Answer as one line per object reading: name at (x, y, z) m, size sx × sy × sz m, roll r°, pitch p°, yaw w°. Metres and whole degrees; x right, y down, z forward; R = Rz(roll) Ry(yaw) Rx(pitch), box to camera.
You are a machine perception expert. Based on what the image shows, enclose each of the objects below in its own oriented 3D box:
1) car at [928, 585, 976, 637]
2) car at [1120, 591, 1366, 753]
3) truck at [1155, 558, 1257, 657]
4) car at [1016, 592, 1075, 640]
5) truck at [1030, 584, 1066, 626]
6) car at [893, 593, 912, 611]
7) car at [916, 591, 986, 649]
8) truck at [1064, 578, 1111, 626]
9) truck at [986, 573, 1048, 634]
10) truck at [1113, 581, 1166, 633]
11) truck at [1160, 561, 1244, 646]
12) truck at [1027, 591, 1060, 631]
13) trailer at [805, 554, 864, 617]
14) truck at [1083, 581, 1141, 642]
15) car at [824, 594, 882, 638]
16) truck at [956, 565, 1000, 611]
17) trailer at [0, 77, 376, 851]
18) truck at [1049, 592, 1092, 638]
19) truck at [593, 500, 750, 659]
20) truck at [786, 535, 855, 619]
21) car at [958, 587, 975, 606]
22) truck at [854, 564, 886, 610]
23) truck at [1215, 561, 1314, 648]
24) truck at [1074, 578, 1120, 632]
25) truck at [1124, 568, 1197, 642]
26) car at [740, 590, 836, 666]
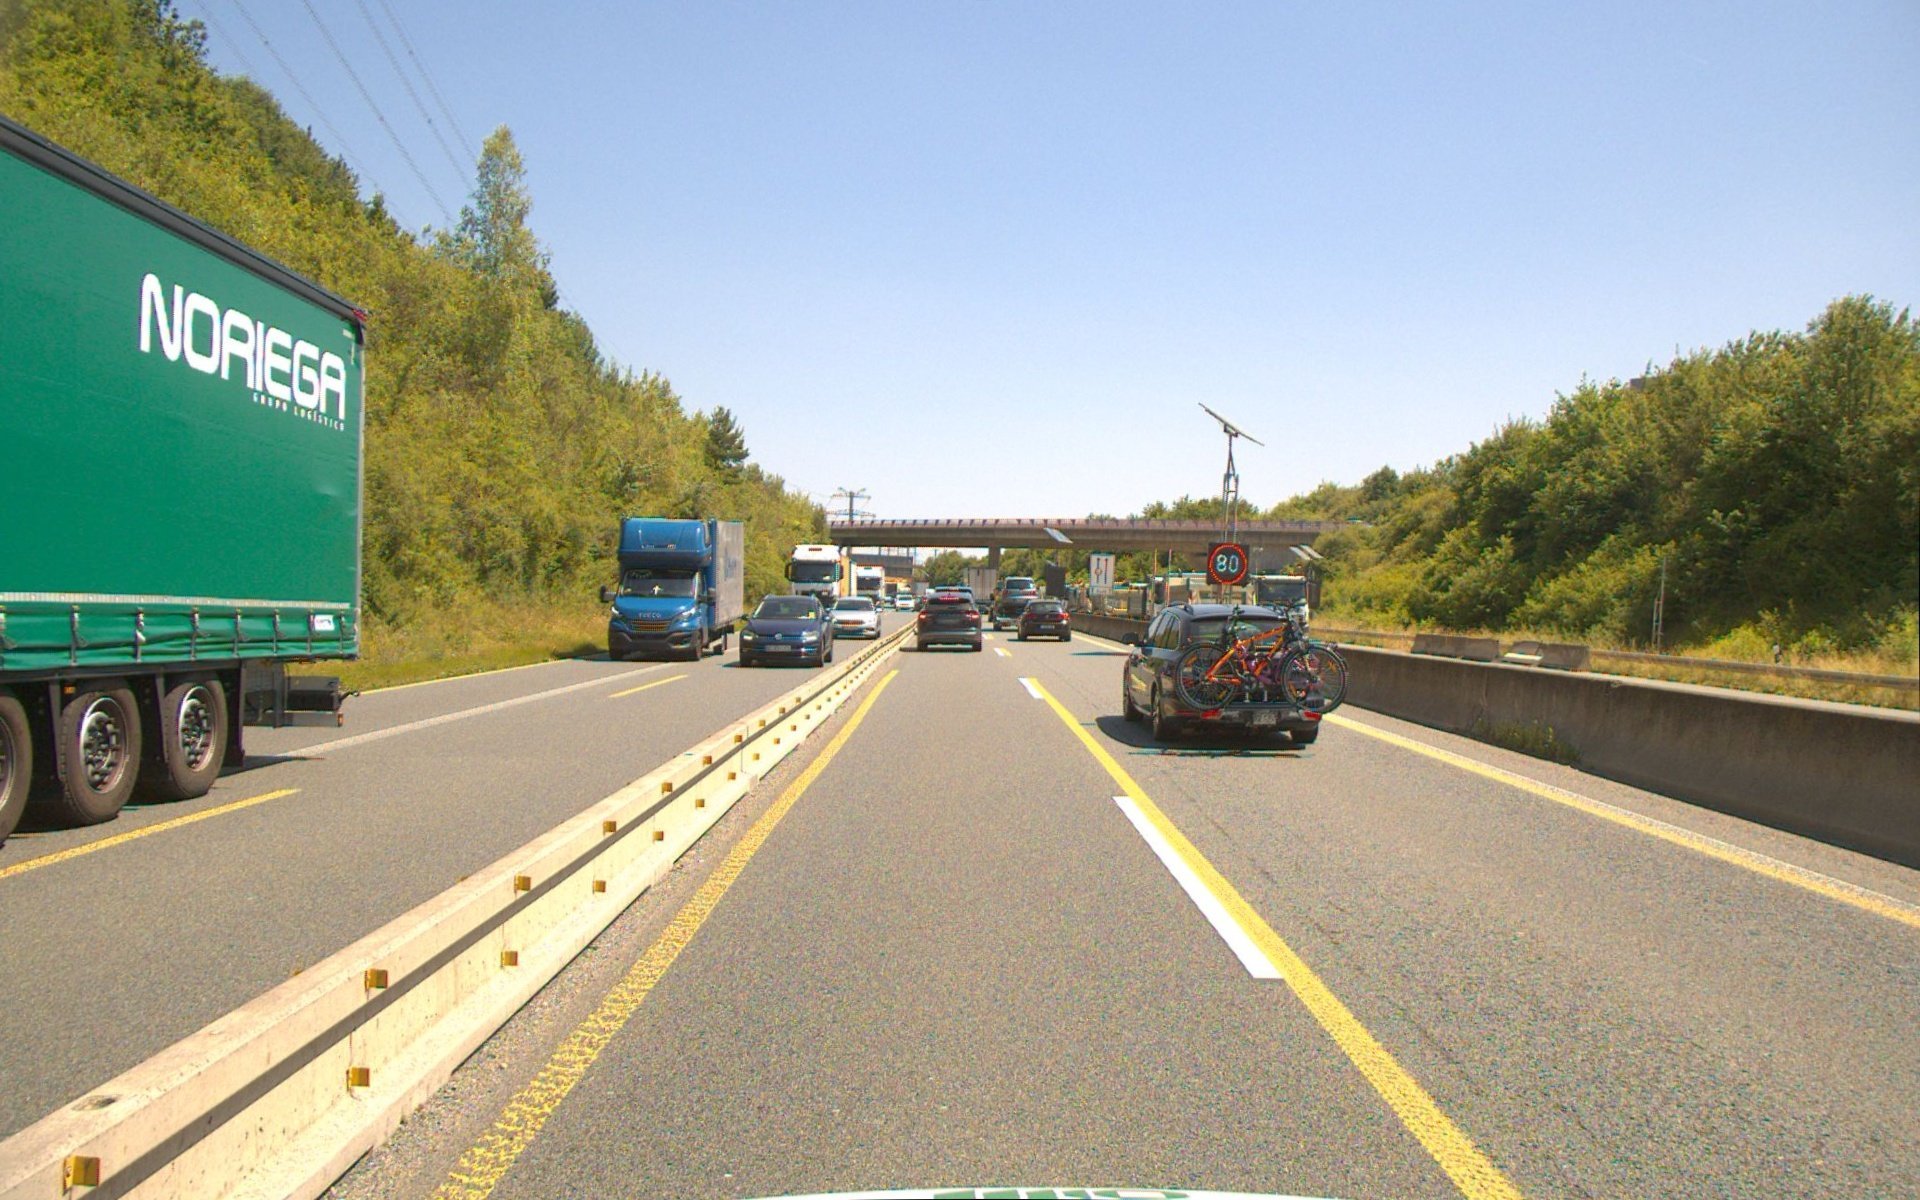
car at (-0.306, 0.433, 66.813) m, size 1.860 × 2.003 × 4.276 m, roll 1°, pitch 0°, yaw 0°
car at (2.949, 0.702, 18.318) m, size 1.860 × 1.516 × 4.947 m, roll 1°, pitch 0°, yaw 0°
truck at (9.457, 0.258, 64.572) m, size 2.482 × 3.572 × 9.095 m, roll 1°, pitch 0°, yaw -1°
car at (2.971, 0.548, 58.347) m, size 1.860 × 1.613 × 4.276 m, roll 1°, pitch 0°, yaw 0°
truck at (8.262, 0.476, 156.553) m, size 2.633 × 3.826 × 9.322 m, roll 1°, pitch 0°, yaw -1°
car at (-5.706, 0.212, 163.399) m, size 1.787 × 1.659 × 4.150 m, roll 1°, pitch 0°, yaw -1°
car at (-0.244, 0.531, 46.661) m, size 1.860 × 1.531 × 4.276 m, roll 1°, pitch 0°, yaw 0°
truck at (9.882, 0.136, 129.182) m, size 2.633 × 3.619 × 9.322 m, roll 1°, pitch 0°, yaw -2°
truck at (2.551, 0.123, 75.994) m, size 2.357 × 2.603 × 7.497 m, roll 1°, pitch 0°, yaw -2°
truck at (12.439, 0.433, 115.515) m, size 2.632 × 3.437 × 9.602 m, roll 1°, pitch 0°, yaw 0°
truck at (10.809, 0.150, 74.721) m, size 2.481 × 3.572 × 8.944 m, roll 1°, pitch 0°, yaw 0°
truck at (8.432, 1.085, 168.458) m, size 2.633 × 3.923 × 9.322 m, roll 1°, pitch 0°, yaw -1°
trailer at (-7.231, -0.839, 96.253) m, size 2.596 × 3.394 × 8.918 m, roll 2°, pitch 0°, yaw 0°
truck at (9.611, 0.689, 105.359) m, size 2.632 × 3.619 × 9.601 m, roll 1°, pitch 0°, yaw -1°
car at (-3.765, 0.559, 58.748) m, size 1.804 × 1.516 × 4.510 m, roll 0°, pitch 0°, yaw -1°
truck at (1.547, -1.022, 145.817) m, size 3.226 × 3.912 × 10.104 m, roll 1°, pitch 0°, yaw -3°
trailer at (-6.624, -0.747, 8.191) m, size 2.833 × 4.197 × 13.242 m, roll 1°, pitch 0°, yaw -1°
truck at (9.202, 1.204, 138.413) m, size 2.633 × 3.619 × 9.322 m, roll 1°, pitch 0°, yaw -2°
truck at (-6.688, -0.463, 39.378) m, size 2.356 × 3.388 × 7.500 m, roll 1°, pitch 0°, yaw 0°
truck at (-7.234, -1.145, 86.973) m, size 2.595 × 4.061 × 9.650 m, roll 2°, pitch 0°, yaw 0°
car at (0.701, -0.353, 180.894) m, size 1.860 × 2.003 × 4.276 m, roll 1°, pitch 0°, yaw 0°
truck at (-8.171, -1.164, 150.940) m, size 2.361 × 4.062 × 10.350 m, roll 1°, pitch 0°, yaw -1°
truck at (13.206, 0.177, 72.314) m, size 2.632 × 3.572 × 8.378 m, roll 1°, pitch 0°, yaw -1°
truck at (9.606, 0.329, 116.845) m, size 2.632 × 3.619 × 9.407 m, roll 1°, pitch 0°, yaw 1°
truck at (10.467, 0.227, 87.151) m, size 2.487 × 3.619 × 9.601 m, roll 1°, pitch 0°, yaw -1°
car at (-3.650, 0.573, 35.661) m, size 1.725 × 1.516 × 4.400 m, roll 1°, pitch 0°, yaw -2°
